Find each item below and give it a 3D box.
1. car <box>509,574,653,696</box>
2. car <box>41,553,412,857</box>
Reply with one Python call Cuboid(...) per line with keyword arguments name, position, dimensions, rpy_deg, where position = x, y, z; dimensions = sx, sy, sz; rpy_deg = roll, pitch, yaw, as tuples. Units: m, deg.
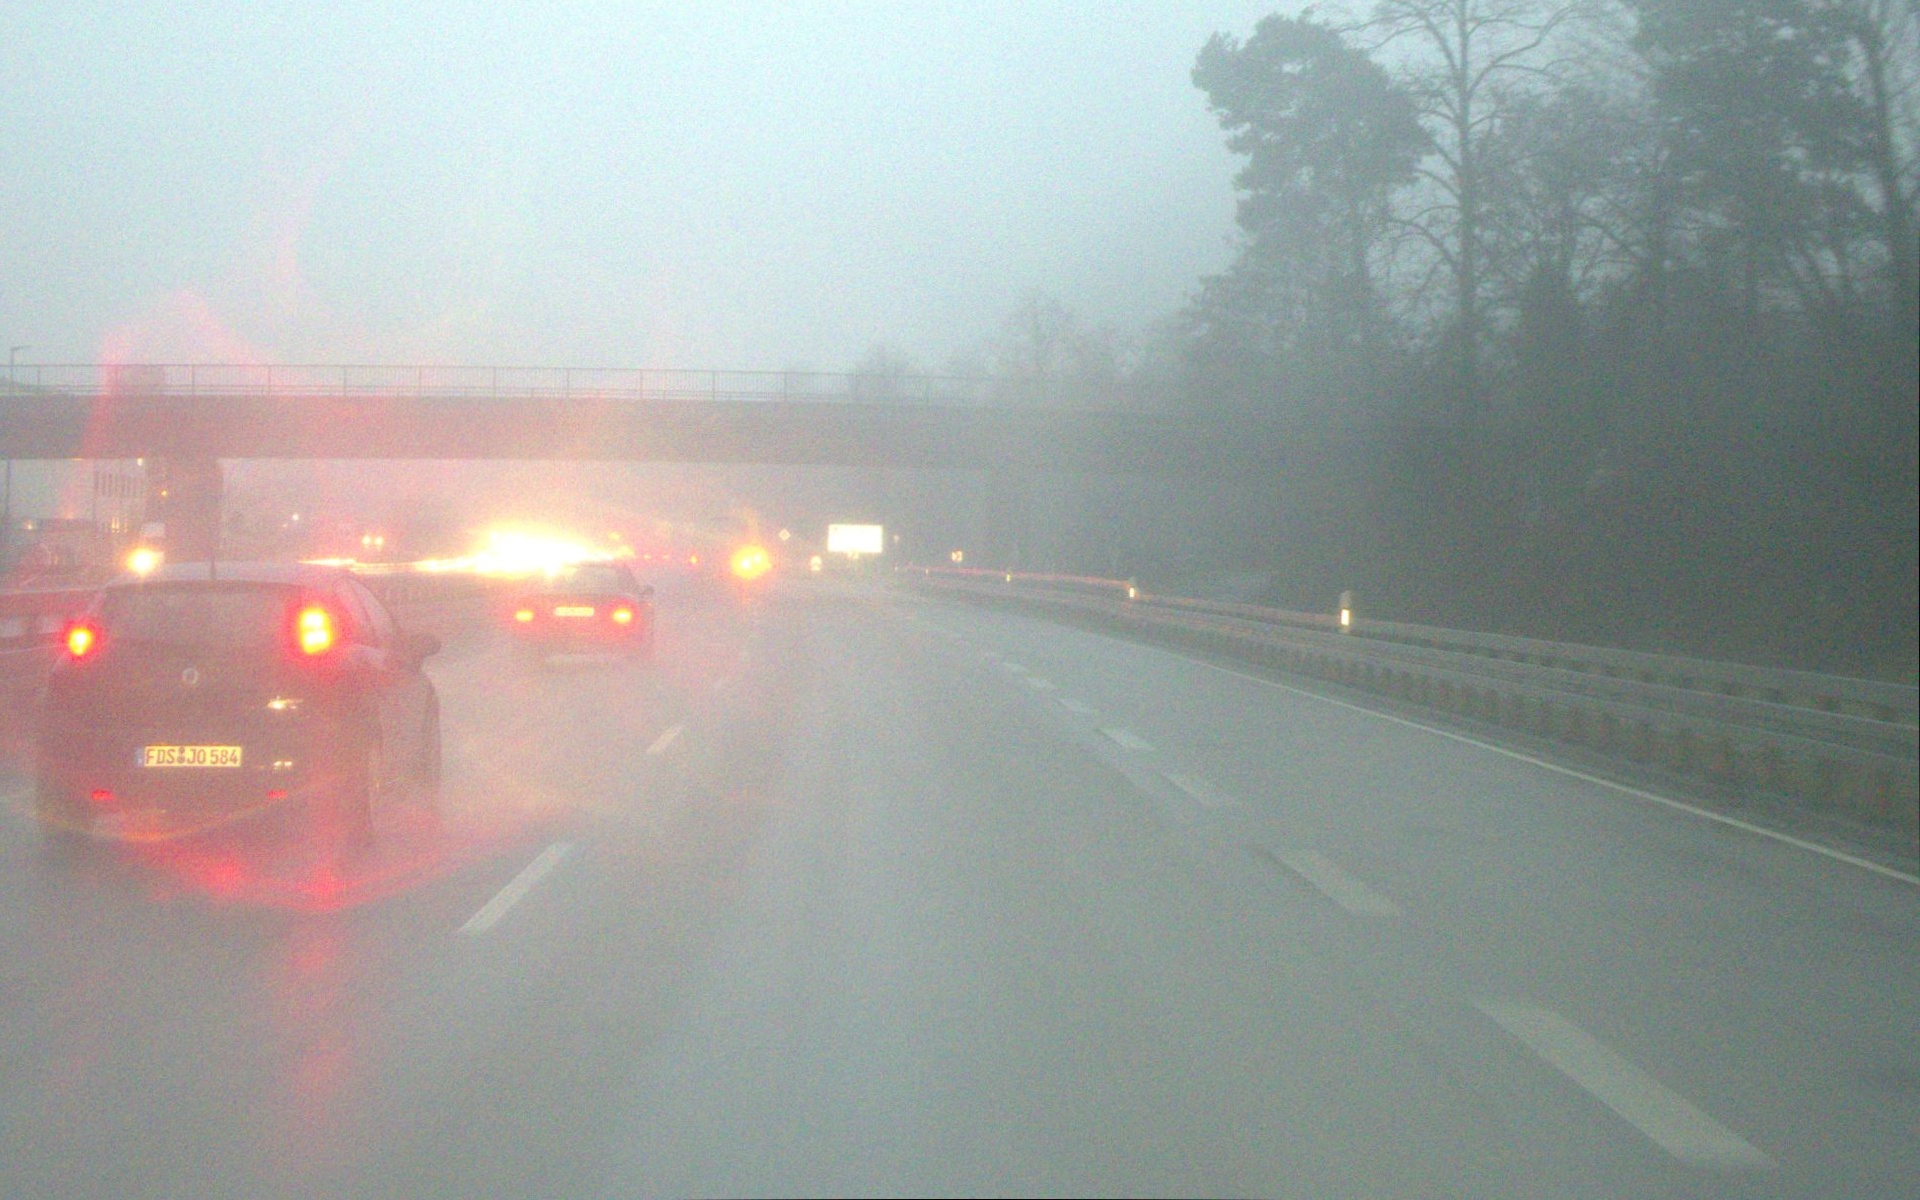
Cuboid(name="car", position=(-5.067, 0.437, 46.398), dimensions=(1.775, 1.529, 4.703), rpy_deg=(-1, 0, -5))
Cuboid(name="car", position=(-3.952, 0.507, 18.969), dimensions=(1.527, 1.411, 3.480), rpy_deg=(3, 1, -5))
